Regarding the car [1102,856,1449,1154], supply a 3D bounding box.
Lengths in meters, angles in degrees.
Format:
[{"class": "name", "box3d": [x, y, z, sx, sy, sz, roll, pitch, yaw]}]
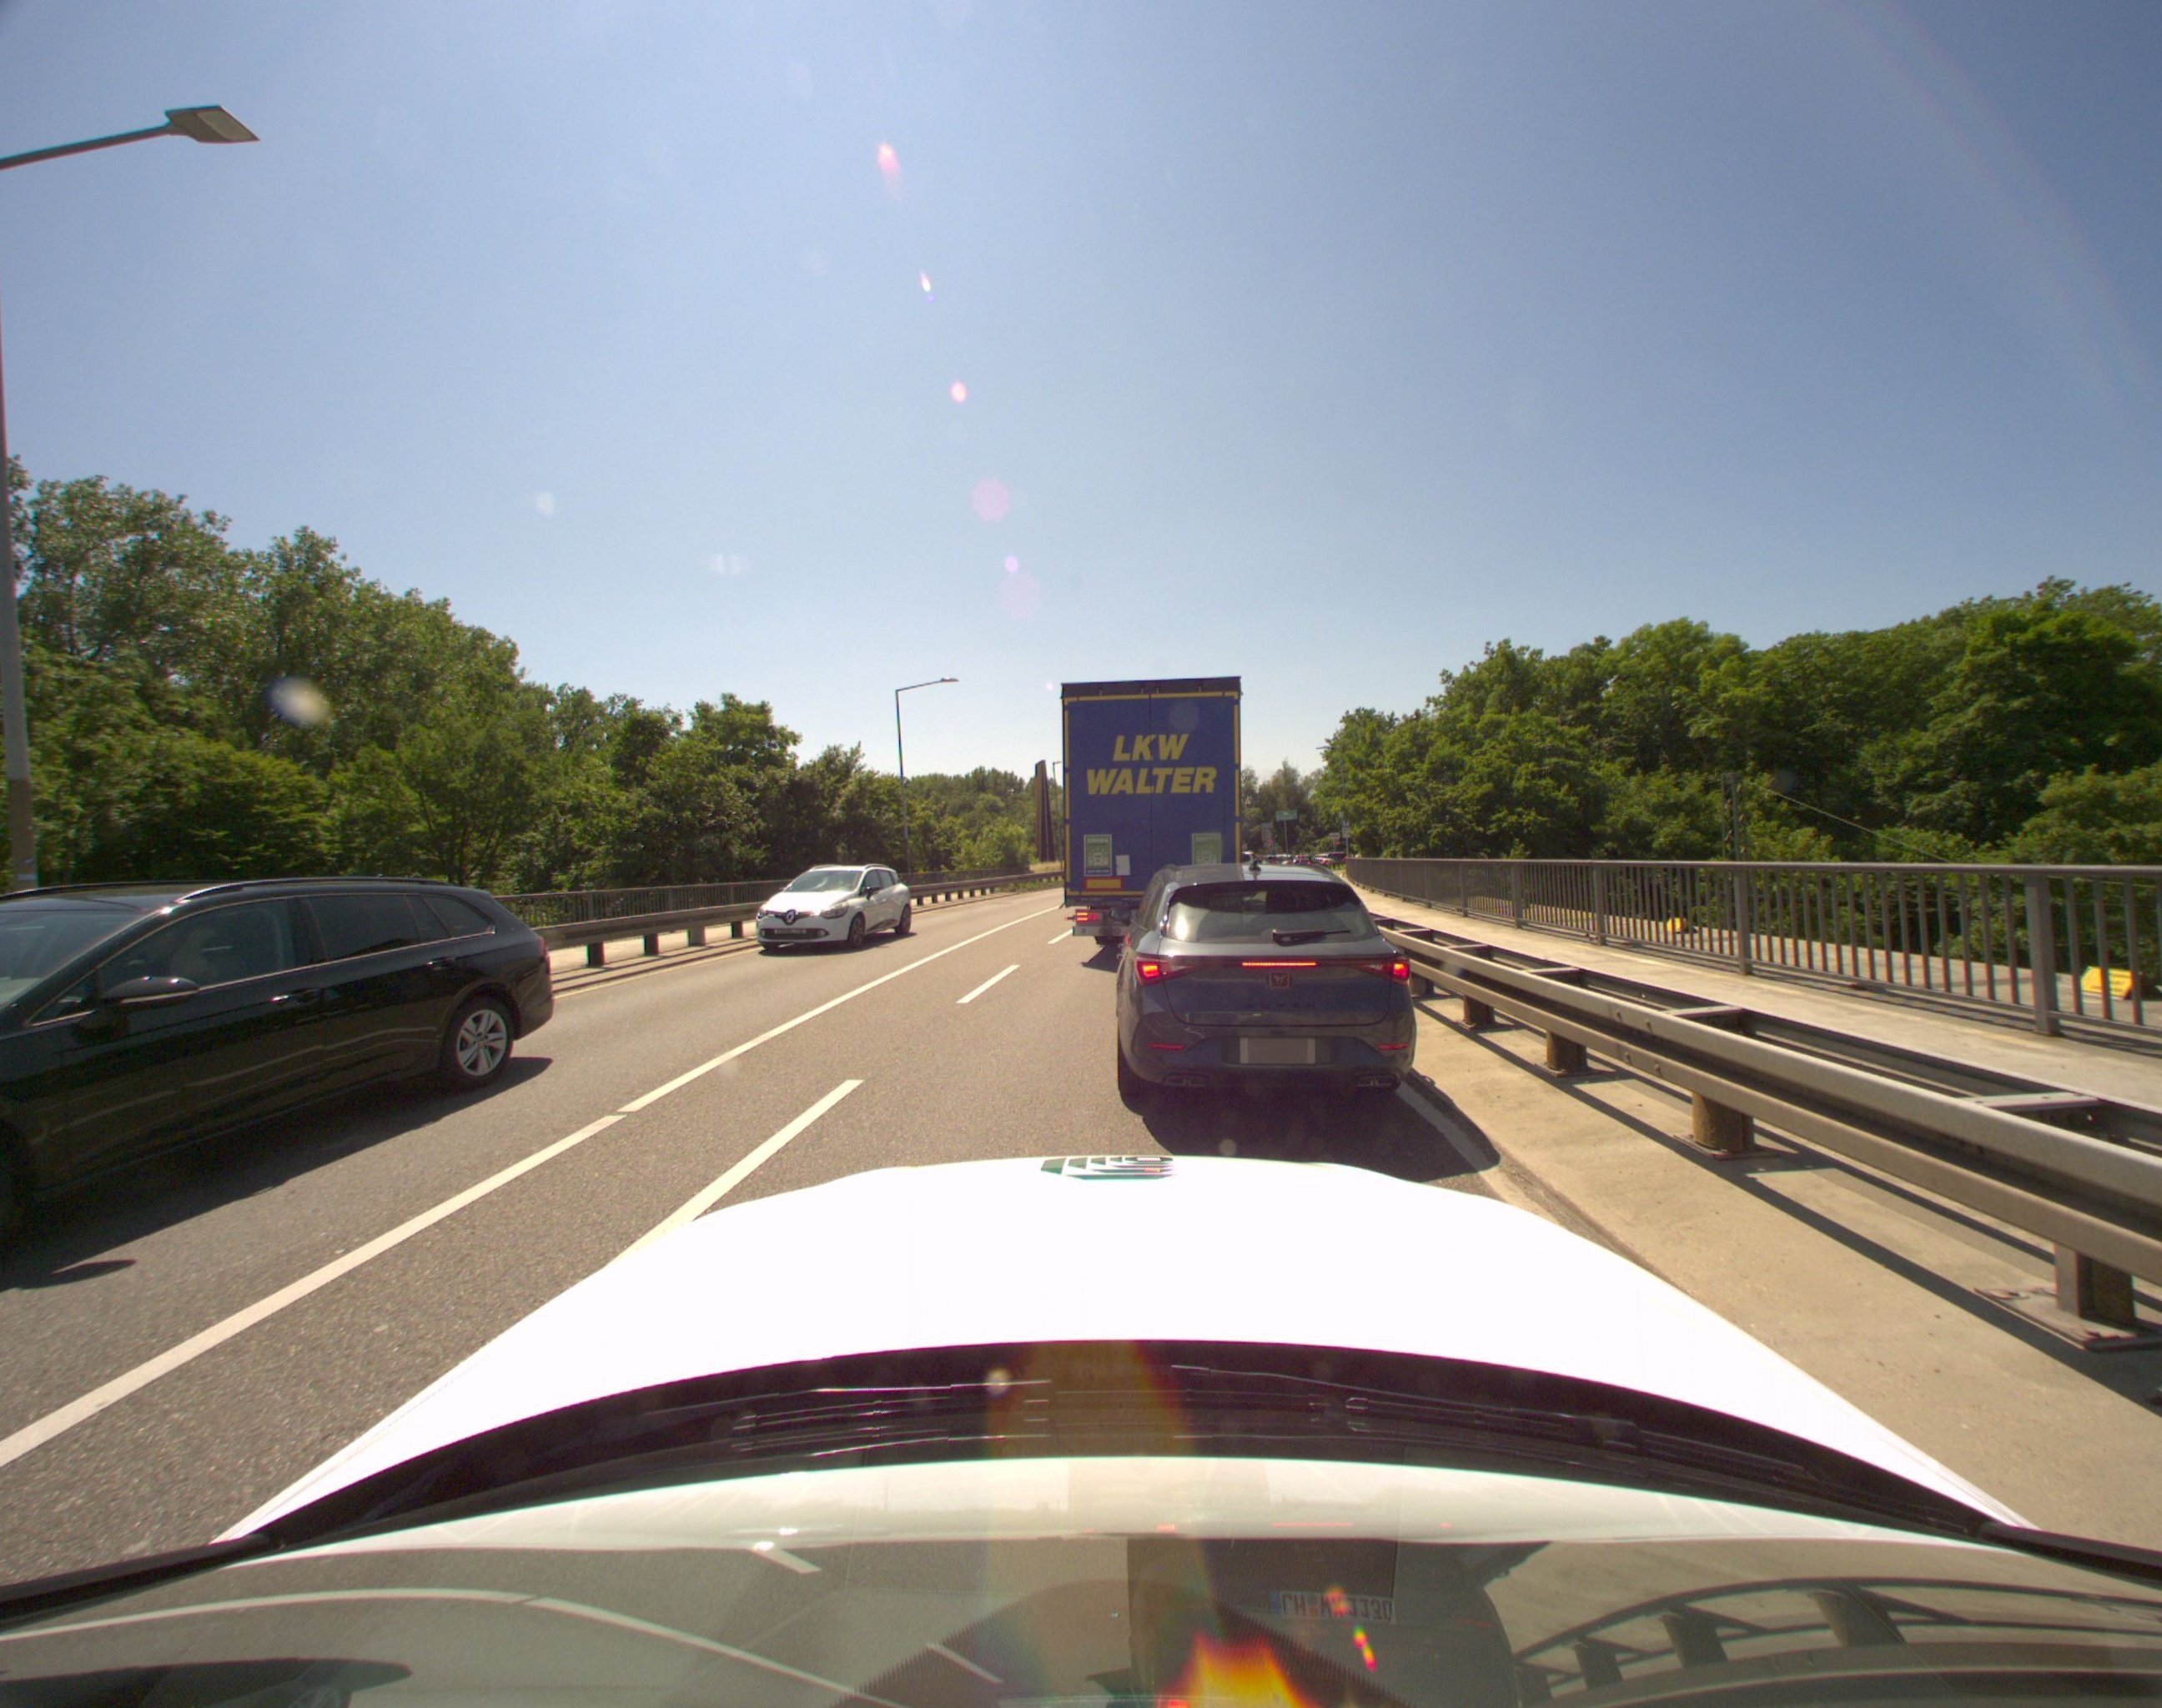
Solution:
[{"class": "car", "box3d": [1.103, 0.762, 6.026, 1.669, 1.456, 3.963, -1, 0, 4]}]

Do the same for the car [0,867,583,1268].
[{"class": "car", "box3d": [-4.927, 0.856, 4.325, 1.704, 1.469, 4.461, -1, 0, 1]}]

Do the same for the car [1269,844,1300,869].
[{"class": "car", "box3d": [15.343, 0.163, 61.306, 1.706, 1.844, 4.021, -1, 0, 21]}]

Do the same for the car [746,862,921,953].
[{"class": "car", "box3d": [-4.491, 0.901, 15.446, 1.590, 1.449, 4.064, -1, 0, 7]}]

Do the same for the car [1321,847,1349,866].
[{"class": "car", "box3d": [24.962, 0.271, 79.945, 1.669, 1.760, 4.025, -2, -1, 30]}]

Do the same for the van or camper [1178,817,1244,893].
[{"class": "van or camper", "box3d": [5.482, 0.019, 33.638, 2.139, 2.815, 6.411, -1, 0, 14]}]

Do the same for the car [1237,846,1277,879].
[{"class": "car", "box3d": [10.250, 0.476, 47.223, 1.706, 1.802, 4.020, -1, 0, 20]}]

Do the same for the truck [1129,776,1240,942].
[{"class": "truck", "box3d": [3.329, 0.143, 25.117, 2.887, 4.418, 6.573, -1, 0, 10]}]

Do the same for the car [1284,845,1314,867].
[{"class": "car", "box3d": [18.208, 0.194, 67.892, 1.670, 1.760, 4.023, -1, -1, 25]}]

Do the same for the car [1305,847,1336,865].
[{"class": "car", "box3d": [21.805, 0.193, 74.064, 1.975, 1.575, 4.024, 0, -1, 28]}]

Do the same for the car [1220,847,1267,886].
[{"class": "car", "box3d": [8.220, 0.596, 40.949, 1.706, 1.844, 4.020, -1, 0, 20]}]

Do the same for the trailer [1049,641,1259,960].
[{"class": "trailer", "box3d": [2.044, -0.742, 17.669, 2.887, 4.418, 12.466, -1, 0, 10]}]

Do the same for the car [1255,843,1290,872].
[{"class": "car", "box3d": [12.976, 0.235, 55.022, 1.706, 1.844, 4.021, -1, 0, 21]}]
